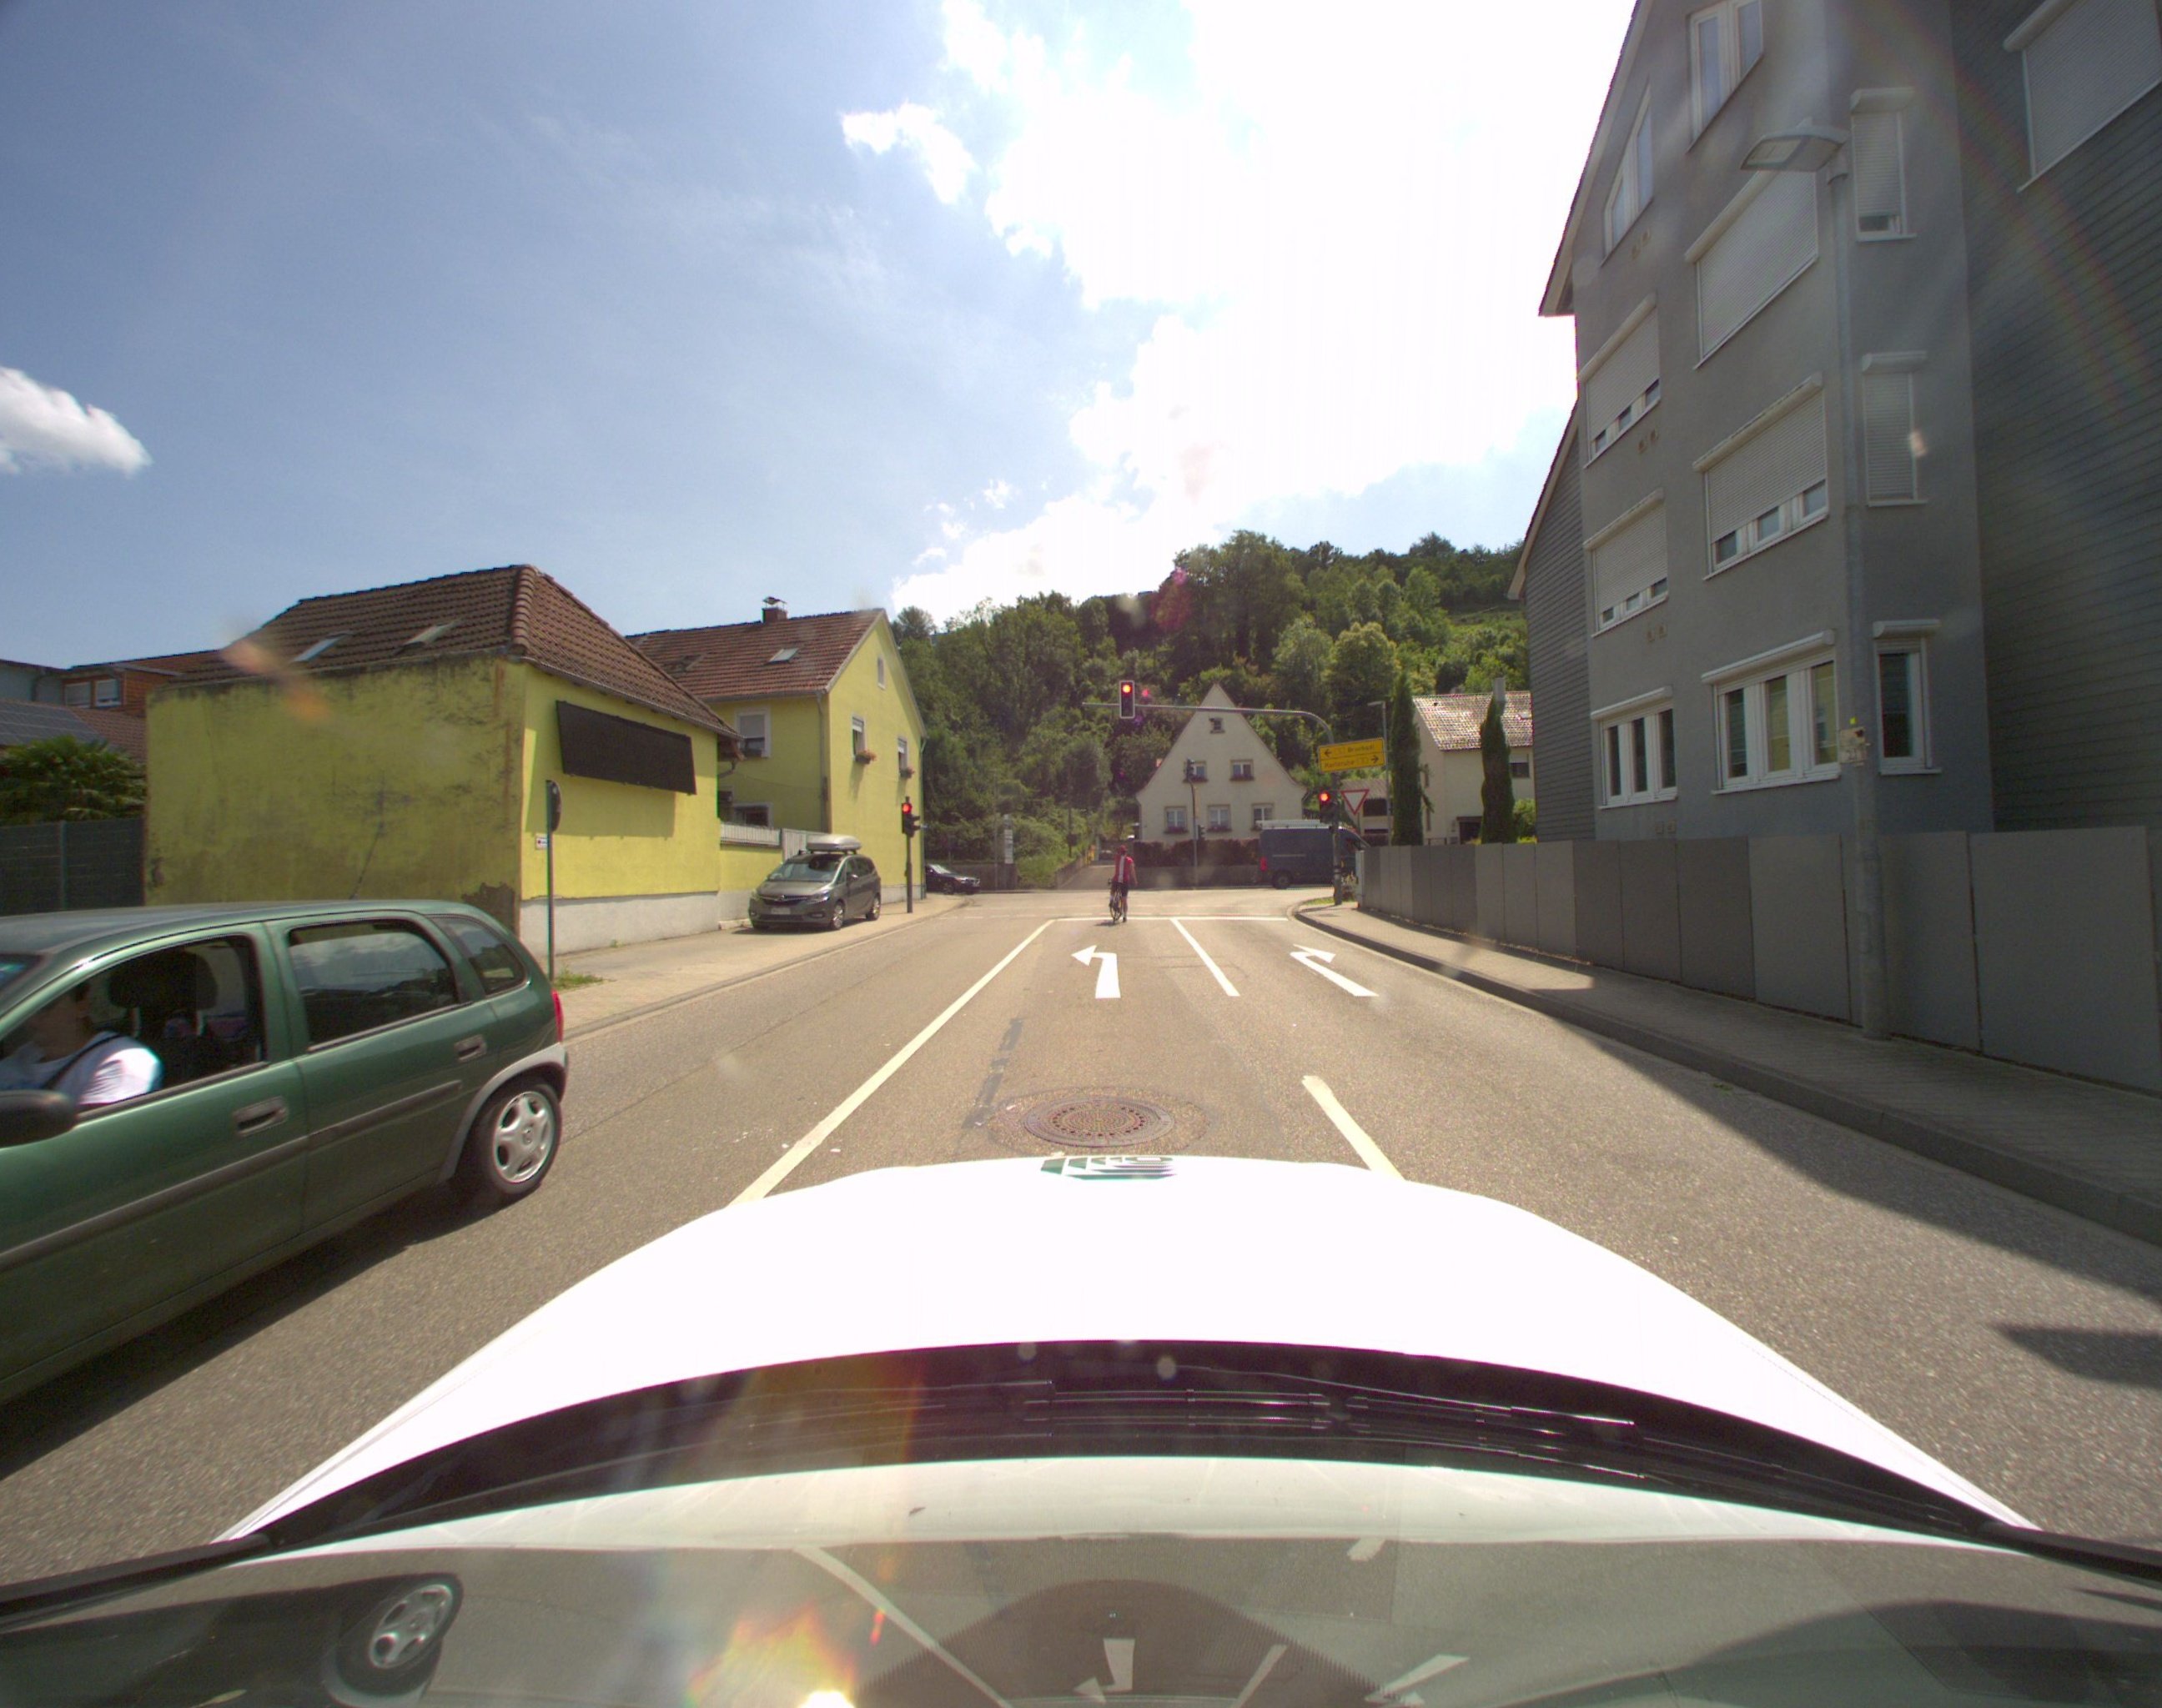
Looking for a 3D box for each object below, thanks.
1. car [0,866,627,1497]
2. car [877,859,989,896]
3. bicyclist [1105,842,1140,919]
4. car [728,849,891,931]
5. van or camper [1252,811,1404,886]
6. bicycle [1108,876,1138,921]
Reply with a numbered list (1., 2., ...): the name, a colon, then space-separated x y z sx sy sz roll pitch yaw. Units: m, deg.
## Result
1. car: -3.405 0.815 2.458 1.774 1.433 3.873 -3 0 1
2. car: -6.653 1.052 36.669 4.614 1.442 1.880 -3 -1 23
3. bicyclist: 0.918 0.570 17.994 0.757 1.664 0.869 0 -1 3
4. car: -6.006 0.737 18.700 1.985 1.635 4.633 0 0 2
5. van or camper: 10.453 -0.208 34.983 5.955 3.005 2.224 -1 -1 10
6. bicycle: 0.923 0.963 18.016 0.627 0.905 1.658 0 0 3
